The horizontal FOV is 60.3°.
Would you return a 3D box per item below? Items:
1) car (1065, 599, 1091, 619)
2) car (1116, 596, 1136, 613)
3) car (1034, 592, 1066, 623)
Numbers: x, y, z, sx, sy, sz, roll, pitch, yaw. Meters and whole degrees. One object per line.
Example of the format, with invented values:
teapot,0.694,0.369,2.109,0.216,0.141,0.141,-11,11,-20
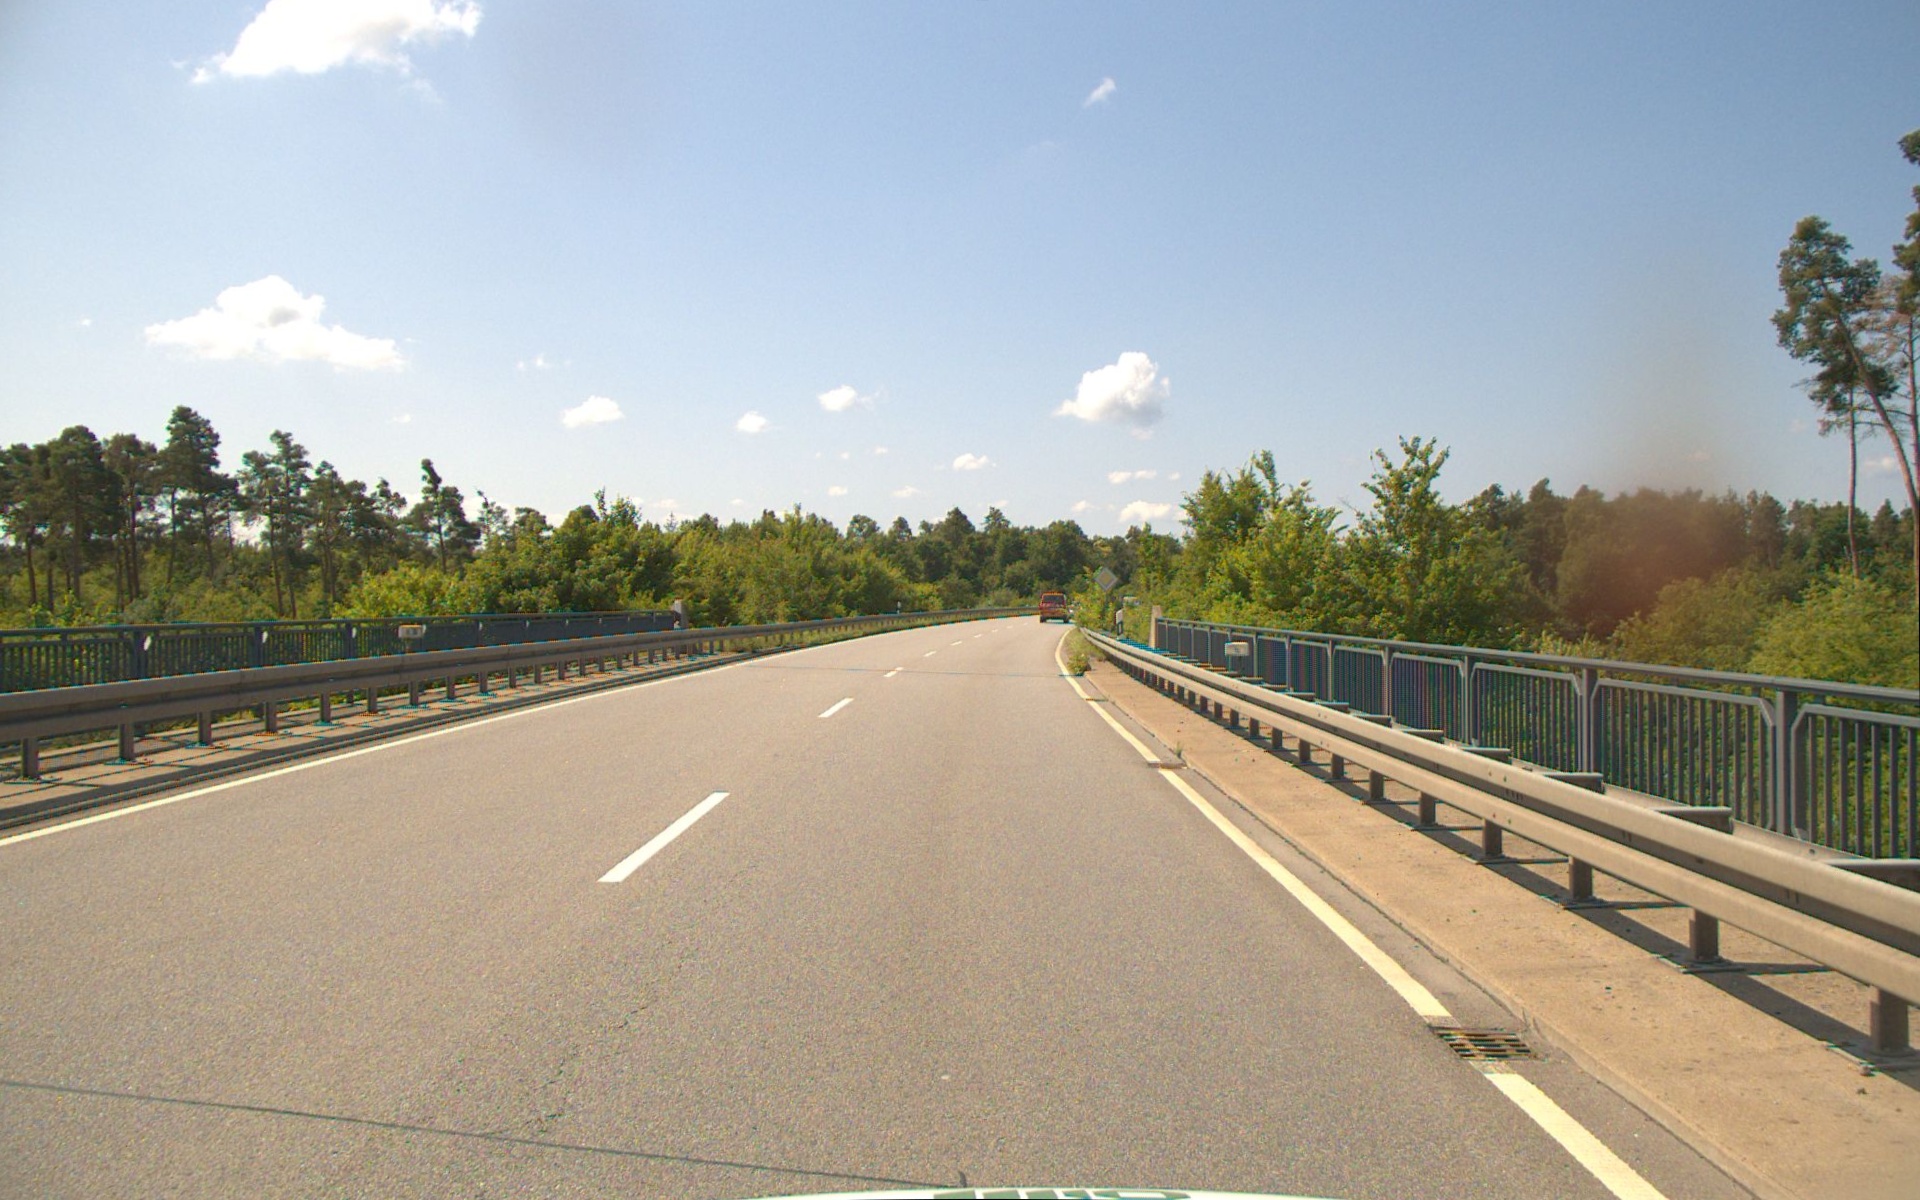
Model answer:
car,9.696,0.743,136.068,1.965,1.520,4.239,1,0,2
car,19.519,0.516,195.060,2.139,1.989,5.807,2,0,4
car,6.187,0.521,113.989,2.034,2.028,5.112,1,0,2
